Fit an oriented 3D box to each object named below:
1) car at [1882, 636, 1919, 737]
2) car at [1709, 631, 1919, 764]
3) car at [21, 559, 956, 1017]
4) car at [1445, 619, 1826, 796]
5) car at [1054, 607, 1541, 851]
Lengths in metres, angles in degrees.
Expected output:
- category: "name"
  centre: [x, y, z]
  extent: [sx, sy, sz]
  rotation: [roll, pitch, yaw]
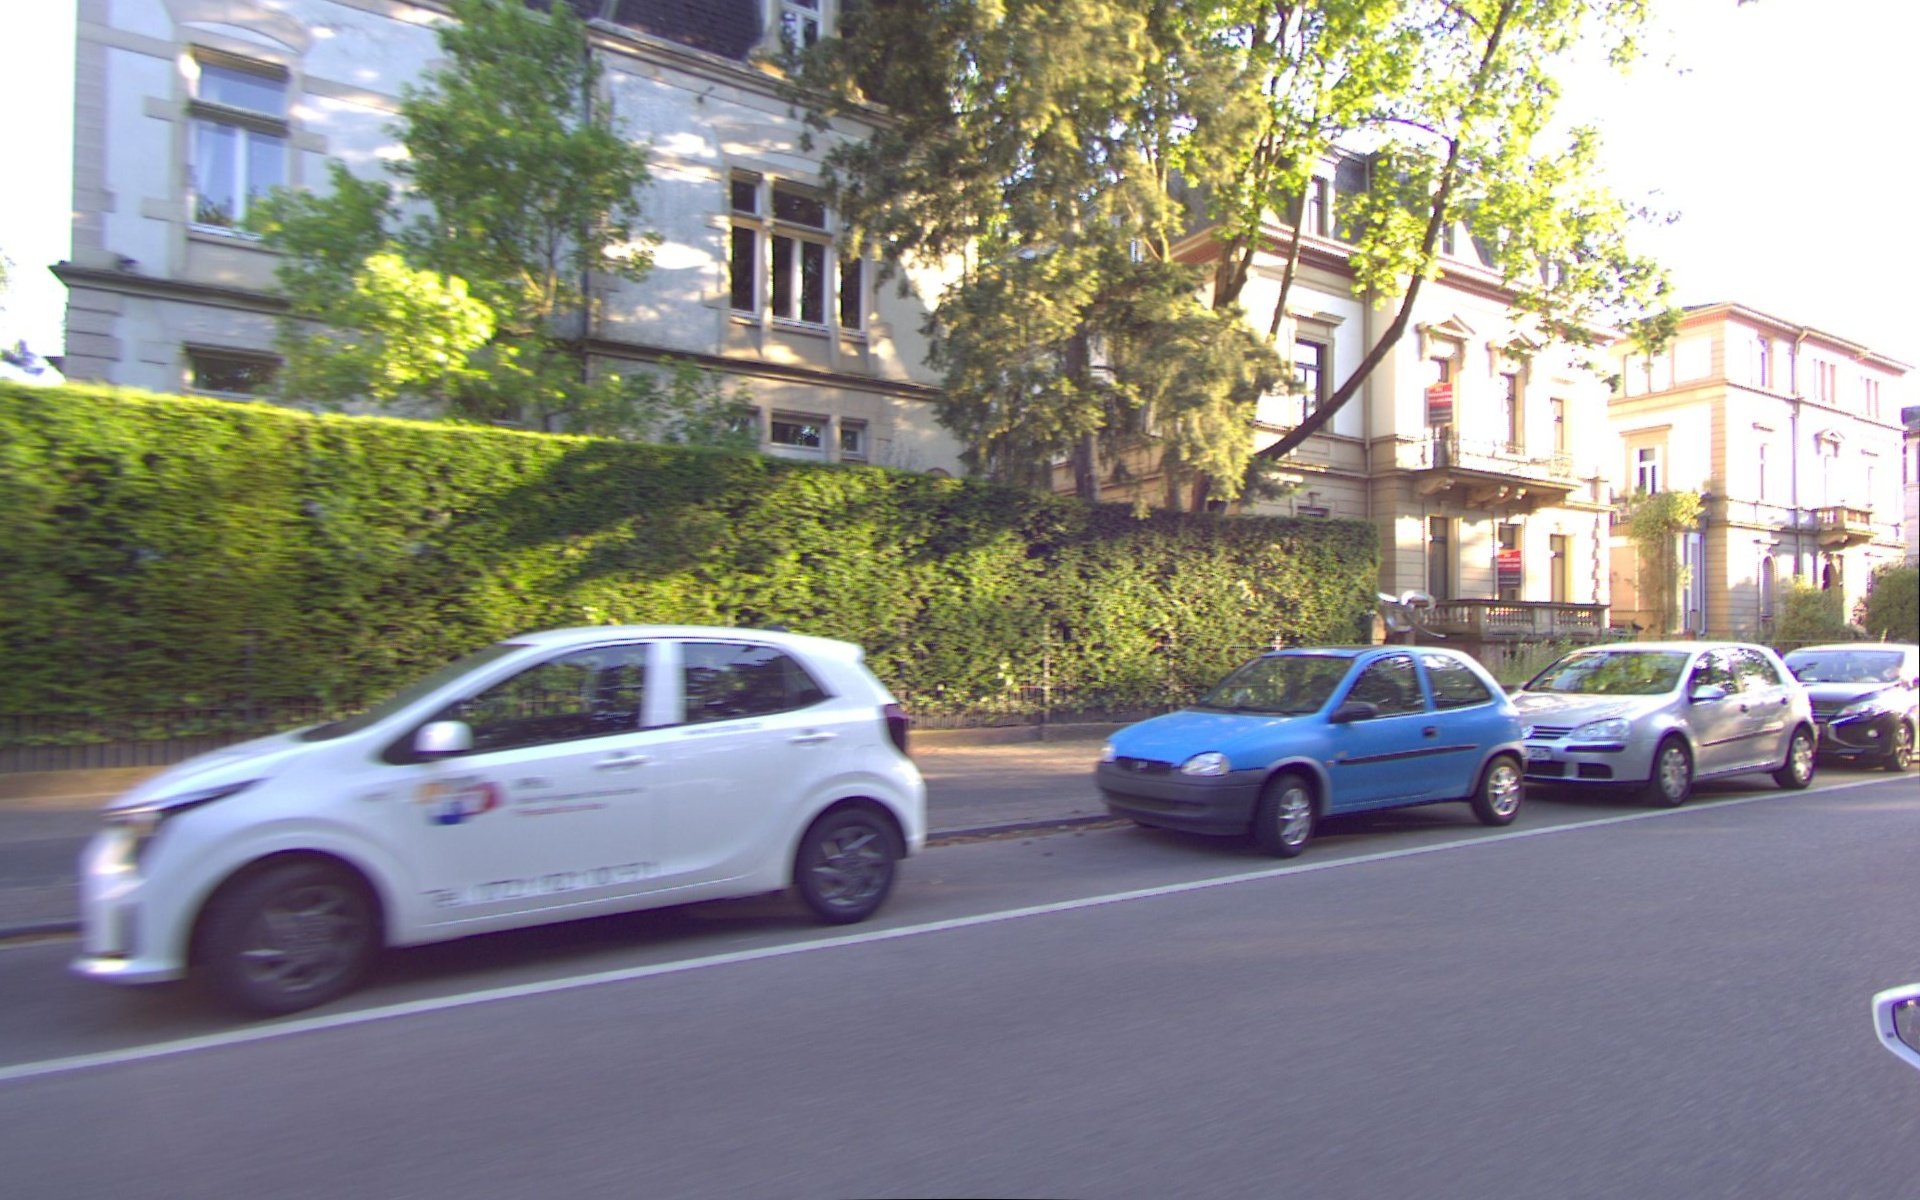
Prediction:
- category: "car"
  centre: [16.200, 1.341, 15.626]
  extent: [3.988, 1.486, 1.606]
  rotation: [2, -2, -30]
- category: "car"
  centre: [11.614, 1.200, 12.994]
  extent: [3.988, 1.485, 1.607]
  rotation: [2, -4, -30]
- category: "car"
  centre: [-1.991, 0.724, 5.053]
  extent: [3.671, 1.535, 1.605]
  rotation: [2, -4, -32]
- category: "car"
  centre: [6.856, 0.980, 10.123]
  extent: [3.988, 1.486, 1.606]
  rotation: [2, -2, -30]
- category: "car"
  centre: [2.702, 0.900, 7.889]
  extent: [3.698, 1.504, 1.606]
  rotation: [2, -4, -31]
